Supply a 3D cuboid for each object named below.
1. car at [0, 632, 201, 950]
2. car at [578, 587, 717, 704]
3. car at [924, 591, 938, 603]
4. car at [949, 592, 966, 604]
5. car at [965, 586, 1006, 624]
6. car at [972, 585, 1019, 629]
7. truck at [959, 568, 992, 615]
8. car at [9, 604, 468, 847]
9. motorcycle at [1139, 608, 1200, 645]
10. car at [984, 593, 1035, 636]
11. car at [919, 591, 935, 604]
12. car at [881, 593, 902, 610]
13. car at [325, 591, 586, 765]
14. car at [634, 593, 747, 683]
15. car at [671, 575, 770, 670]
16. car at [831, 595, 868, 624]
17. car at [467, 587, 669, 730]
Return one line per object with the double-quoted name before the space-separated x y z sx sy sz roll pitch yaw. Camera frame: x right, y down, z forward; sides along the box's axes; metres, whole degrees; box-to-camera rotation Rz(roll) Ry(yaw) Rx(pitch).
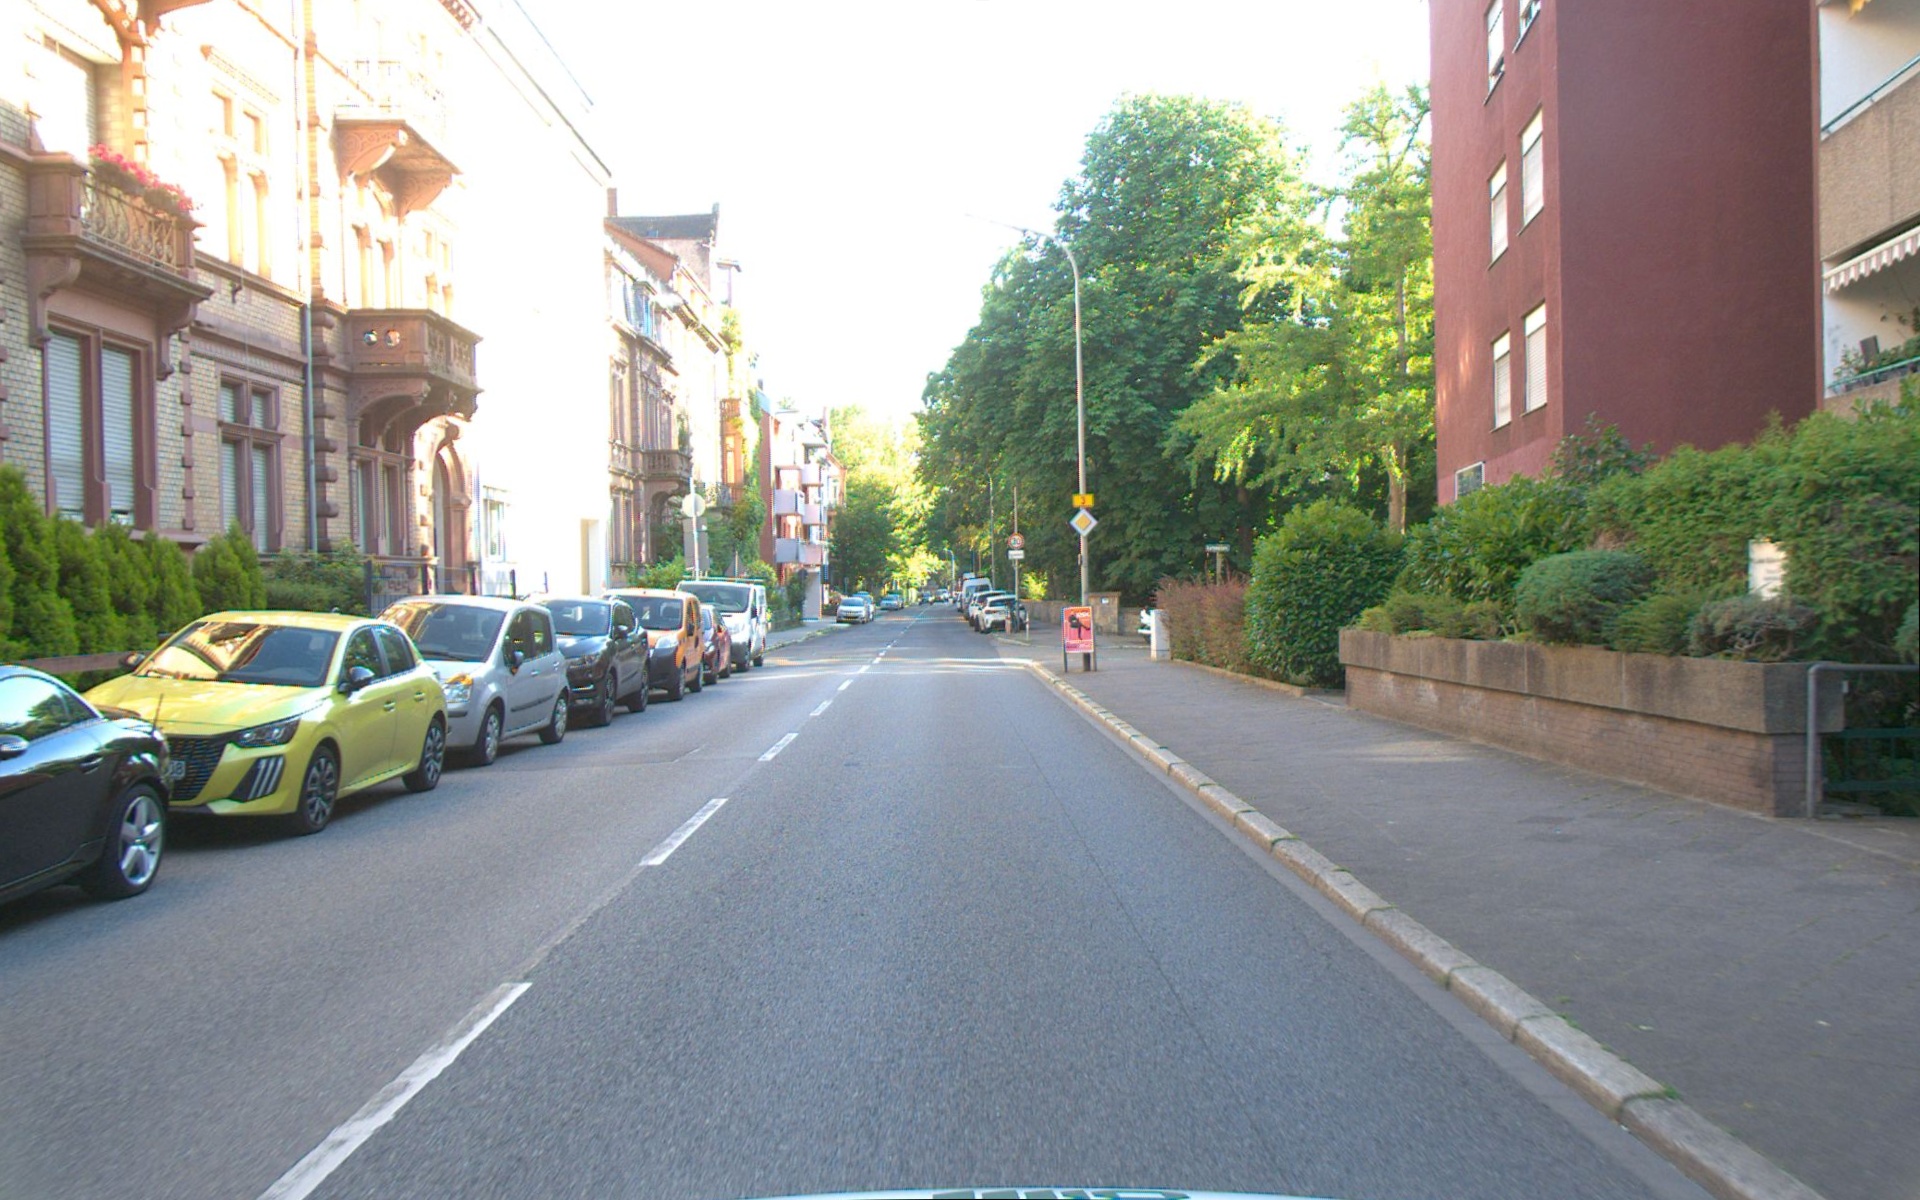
"car" -5.201 0.895 7.576 1.667 1.390 3.860 0 0 0
"car" -5.057 0.678 27.205 1.668 1.769 3.855 0 0 -2
"car" -4.270 -0.448 241.351 1.953 1.517 4.470 -2 1 -1
"car" -0.332 -0.276 223.572 1.954 1.517 4.467 -2 1 -4
"car" 1.290 0.218 83.628 1.952 1.767 4.001 -2 1 1
"car" 1.534 0.297 72.796 1.952 1.767 4.001 -2 1 1
"truck" 0.978 -0.582 108.378 1.953 2.947 4.470 -2 1 -1
"car" -5.147 0.819 12.458 1.667 1.529 4.072 0 -1 0
"motorcycle" 6.687 0.841 52.910 1.866 1.131 0.790 0 1 2
"car" 1.983 0.546 67.125 1.952 1.544 4.001 -2 1 1
"car" -4.206 -0.355 212.588 1.953 1.517 4.470 -2 1 -1
"car" -6.868 0.157 166.022 1.953 1.517 4.470 -2 1 -1
"car" -5.117 0.713 17.253 1.668 1.611 3.634 0 0 -1
"car" -5.245 0.696 32.628 1.668 1.648 4.116 0 0 -2
"car" -5.435 0.465 38.047 1.757 2.045 4.696 0 0 -2
"car" -6.636 0.548 99.502 1.953 1.517 4.470 -2 1 -1
"car" -5.174 0.701 22.401 1.667 1.737 4.440 0 0 0
